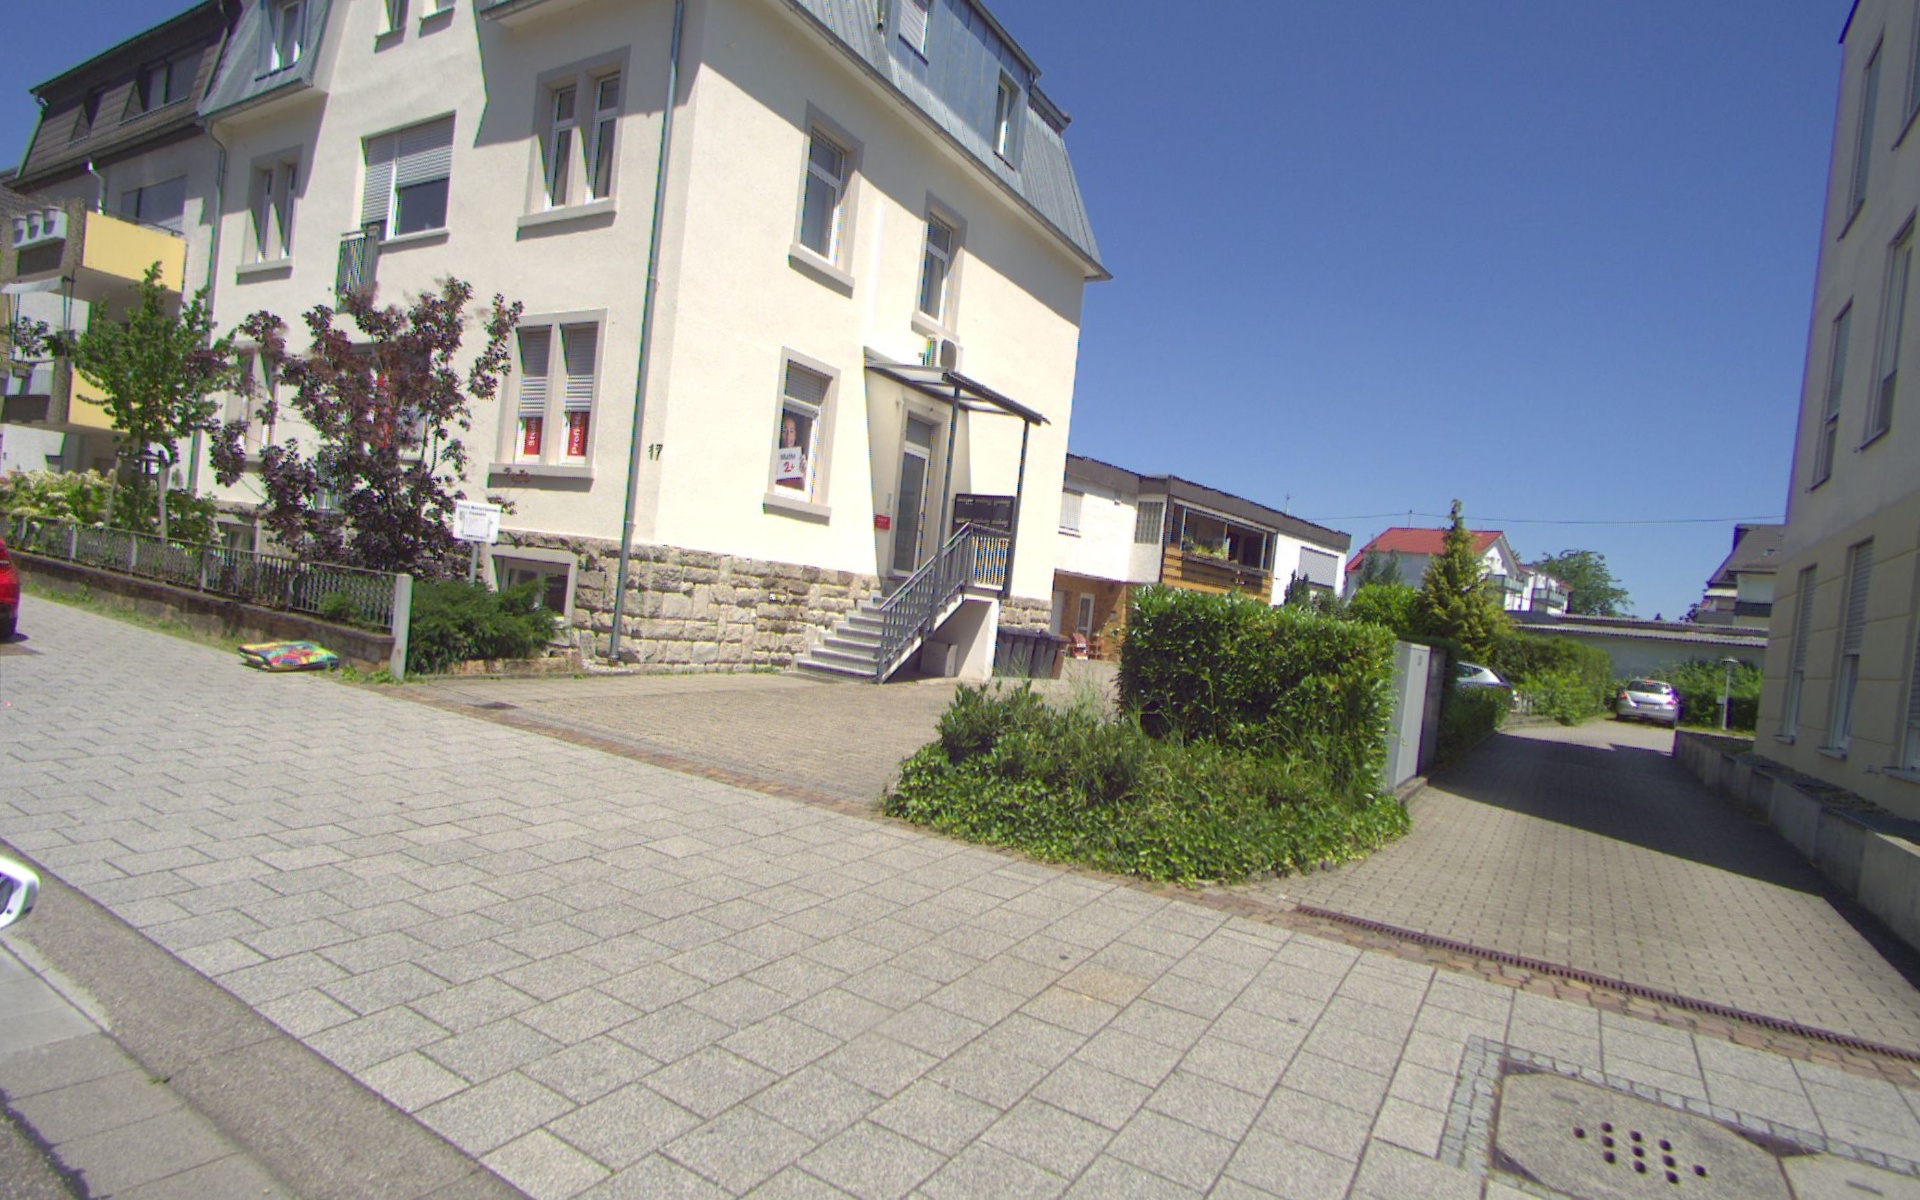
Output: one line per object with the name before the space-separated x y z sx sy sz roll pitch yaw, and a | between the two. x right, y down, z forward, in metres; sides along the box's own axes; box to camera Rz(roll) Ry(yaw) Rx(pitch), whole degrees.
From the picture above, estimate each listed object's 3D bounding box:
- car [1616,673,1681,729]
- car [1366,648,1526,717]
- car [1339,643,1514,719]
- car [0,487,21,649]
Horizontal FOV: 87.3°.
car | 23.713 3.444 34.635 1.630 1.594 3.850 7 0 35
car | 14.213 2.373 29.465 3.935 1.437 1.802 7 0 33
car | 12.493 2.146 27.004 3.935 1.437 1.802 7 0 33
car | -10.591 -0.473 9.554 3.791 1.460 1.602 7 3 34
